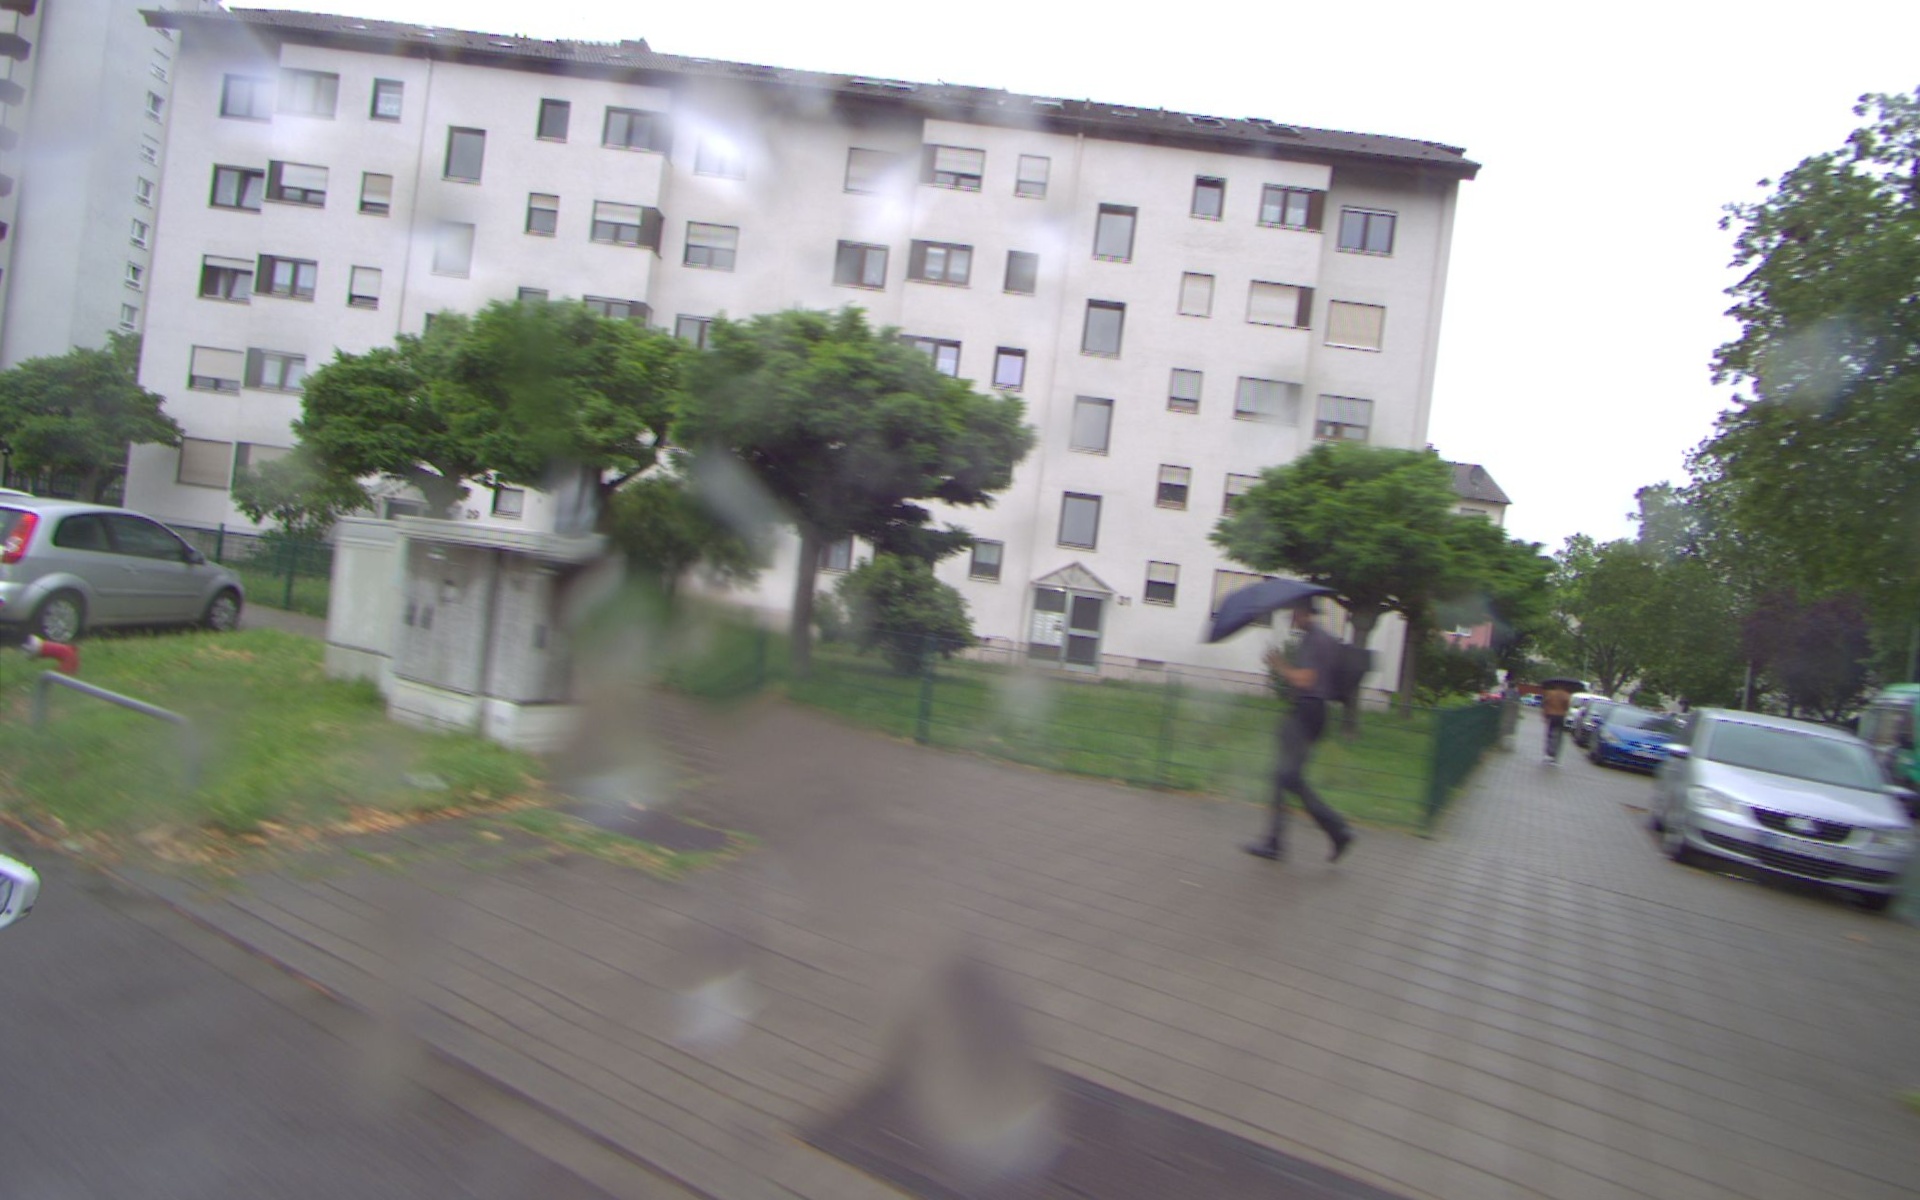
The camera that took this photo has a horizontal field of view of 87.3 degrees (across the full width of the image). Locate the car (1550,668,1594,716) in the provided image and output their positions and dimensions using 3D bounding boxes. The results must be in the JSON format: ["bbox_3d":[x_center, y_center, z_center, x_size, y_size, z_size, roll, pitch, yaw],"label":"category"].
[{"bbox_3d":[38.764,5.794,63.813,2.045,2.613,4.918,7,0,30],"label":"car"}]

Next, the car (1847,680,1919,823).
[{"bbox_3d":[21.376,3.306,21.670,2.151,2.812,6.126,8,0,33],"label":"car"}]

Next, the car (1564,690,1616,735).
[{"bbox_3d":[29.056,5.142,46.495,1.656,1.676,4.300,7,0,29],"label":"car"}]

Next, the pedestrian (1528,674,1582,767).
[{"bbox_3d":[12.336,2.477,20.883,0.708,1.790,1.180,8,0,28],"label":"pedestrian"}]

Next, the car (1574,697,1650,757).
[{"bbox_3d":[21.241,4.101,32.924,1.656,1.524,4.300,7,0,29],"label":"car"}]

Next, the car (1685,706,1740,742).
[{"bbox_3d":[38.552,6.322,51.592,1.711,1.409,3.998,7,0,31],"label":"car"}]

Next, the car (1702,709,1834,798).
[{"bbox_3d":[19.849,3.697,24.897,1.746,1.670,3.994,8,0,30],"label":"car"}]

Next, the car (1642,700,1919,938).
[{"bbox_3d":[8.643,2.088,10.808,1.841,1.701,4.297,7,0,32],"label":"car"}]

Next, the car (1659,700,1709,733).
[{"bbox_3d":[42.518,6.808,59.164,1.710,1.524,4.000,7,0,28],"label":"car"}]

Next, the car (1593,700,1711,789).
[{"bbox_3d":[15.822,3.222,23.216,1.905,1.524,4.297,7,0,32],"label":"car"}]

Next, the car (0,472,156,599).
[{"bbox_3d":[-12.480,-0.859,12.743,1.675,1.527,3.994,5,0,-8],"label":"car"}]

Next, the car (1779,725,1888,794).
[{"bbox_3d":[26.157,4.712,30.257,1.712,1.524,3.996,7,0,32],"label":"car"}]

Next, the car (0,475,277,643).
[{"bbox_3d":[-9.690,-0.465,11.076,1.752,1.527,3.996,5,0,-5],"label":"car"}]

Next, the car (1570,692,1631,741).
[{"bbox_3d":[25.226,4.538,39.731,1.656,1.524,4.300,7,0,29],"label":"car"}]

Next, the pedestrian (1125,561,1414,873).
[{"bbox_3d":[2.165,0.754,7.059,1.413,1.836,1.098,8,0,41],"label":"pedestrian"}]

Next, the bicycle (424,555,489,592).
[{"bbox_3d":[-14.317,-0.755,28.609,1.542,0.858,0.491,7,1,5],"label":"bicycle"}]
